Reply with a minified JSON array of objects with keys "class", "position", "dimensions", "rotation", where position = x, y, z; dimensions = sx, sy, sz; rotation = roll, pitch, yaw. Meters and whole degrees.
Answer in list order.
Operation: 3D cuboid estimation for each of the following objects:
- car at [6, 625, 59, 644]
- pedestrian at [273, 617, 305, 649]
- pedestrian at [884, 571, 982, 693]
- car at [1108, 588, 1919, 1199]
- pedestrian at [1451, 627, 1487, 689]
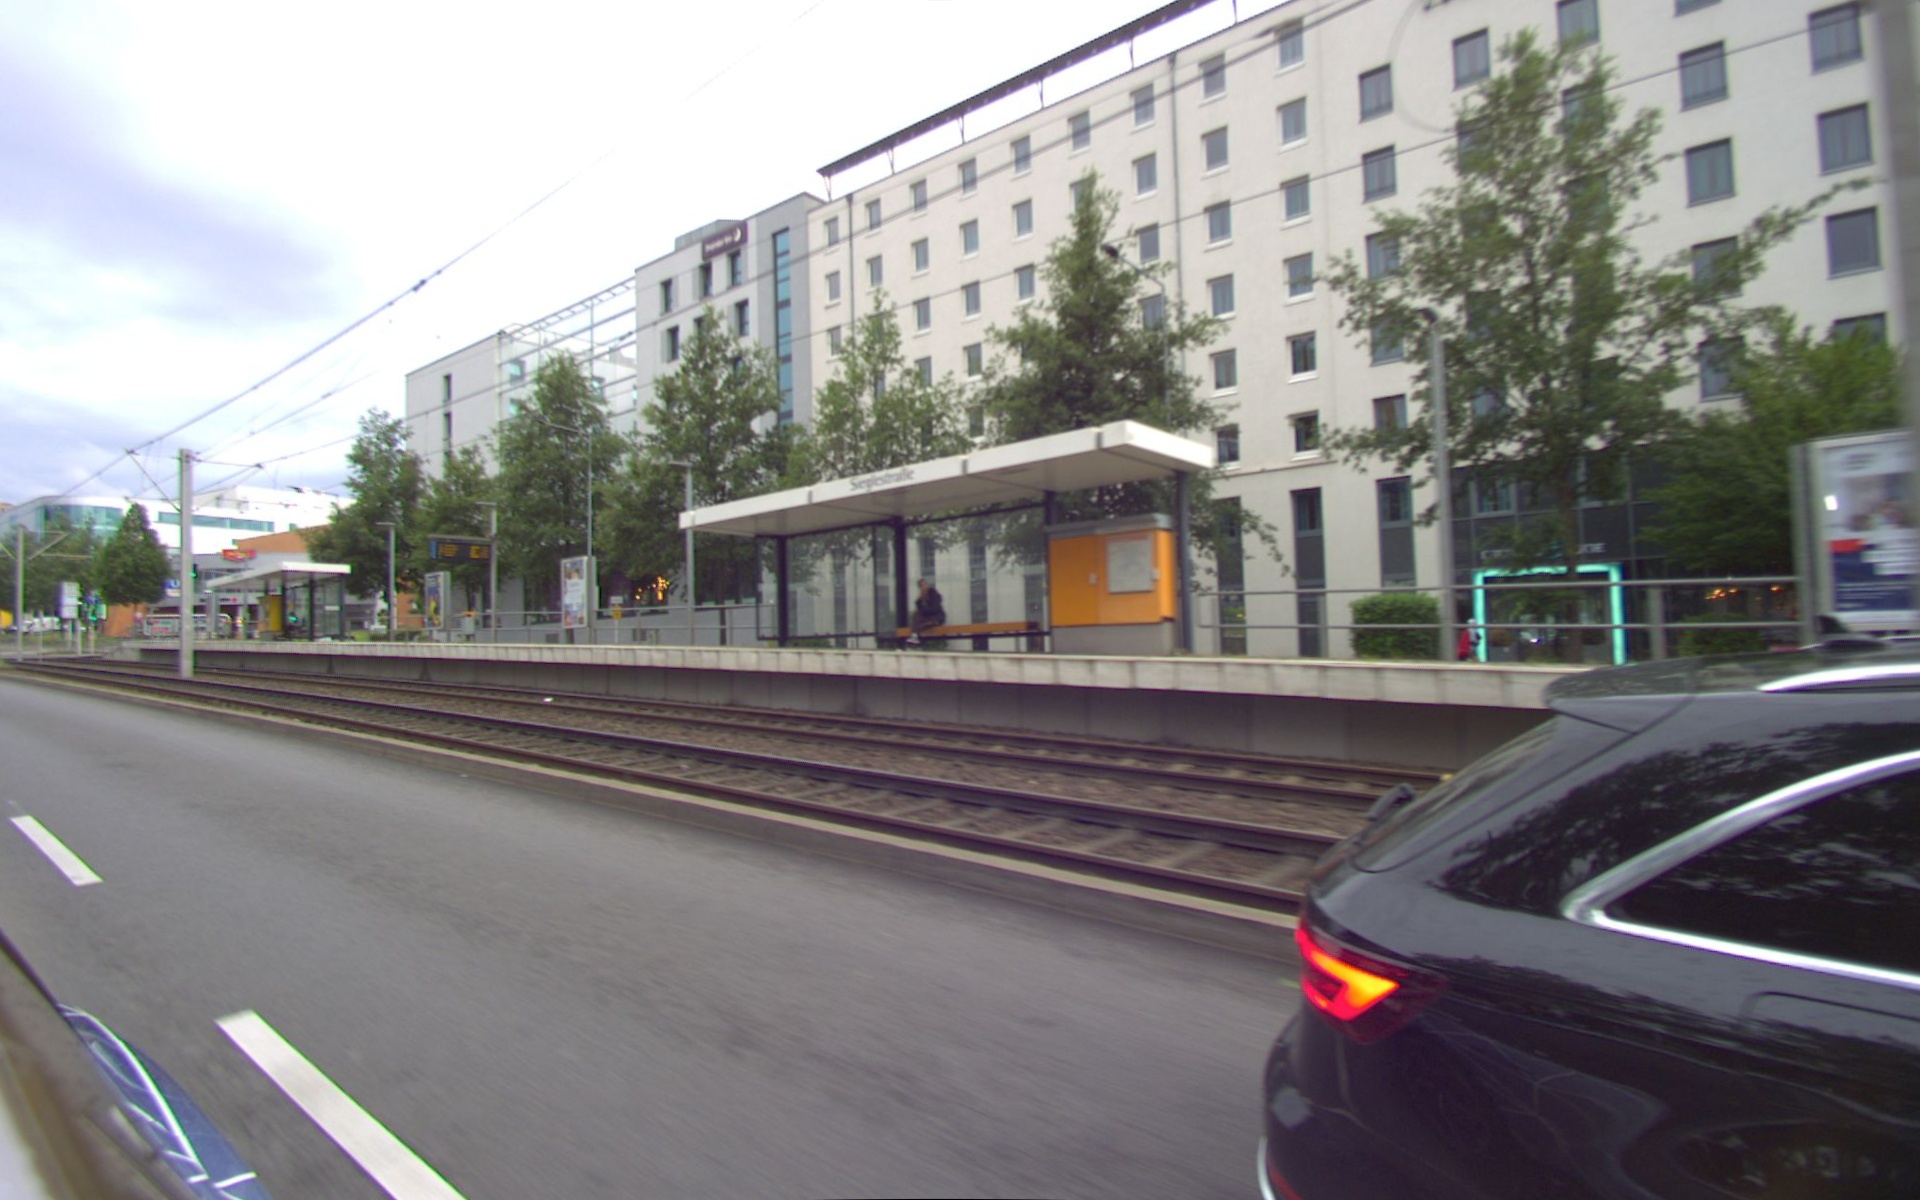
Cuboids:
[{"class":"car","position":[-140.154,5.142,152.949],"dimensions":[2.262,2.648,5.449],"rotation":[-1,0,20]},{"class":"pedestrian","position":[-27.782,1.367,41.900],"dimensions":[0.683,1.310,0.952],"rotation":[-2,-2,39]},{"class":"pedestrian","position":[-0.467,0.531,17.613],"dimensions":[1.270,2.029,1.115],"rotation":[-1,0,41]},{"class":"car","position":[2.651,0.676,0.853],"dimensions":[4.827,1.445,1.771],"rotation":[-2,-1,42]},{"class":"pedestrian","position":[13.541,1.533,26.930],"dimensions":[0.831,1.589,0.597],"rotation":[-1,0,27]}]
